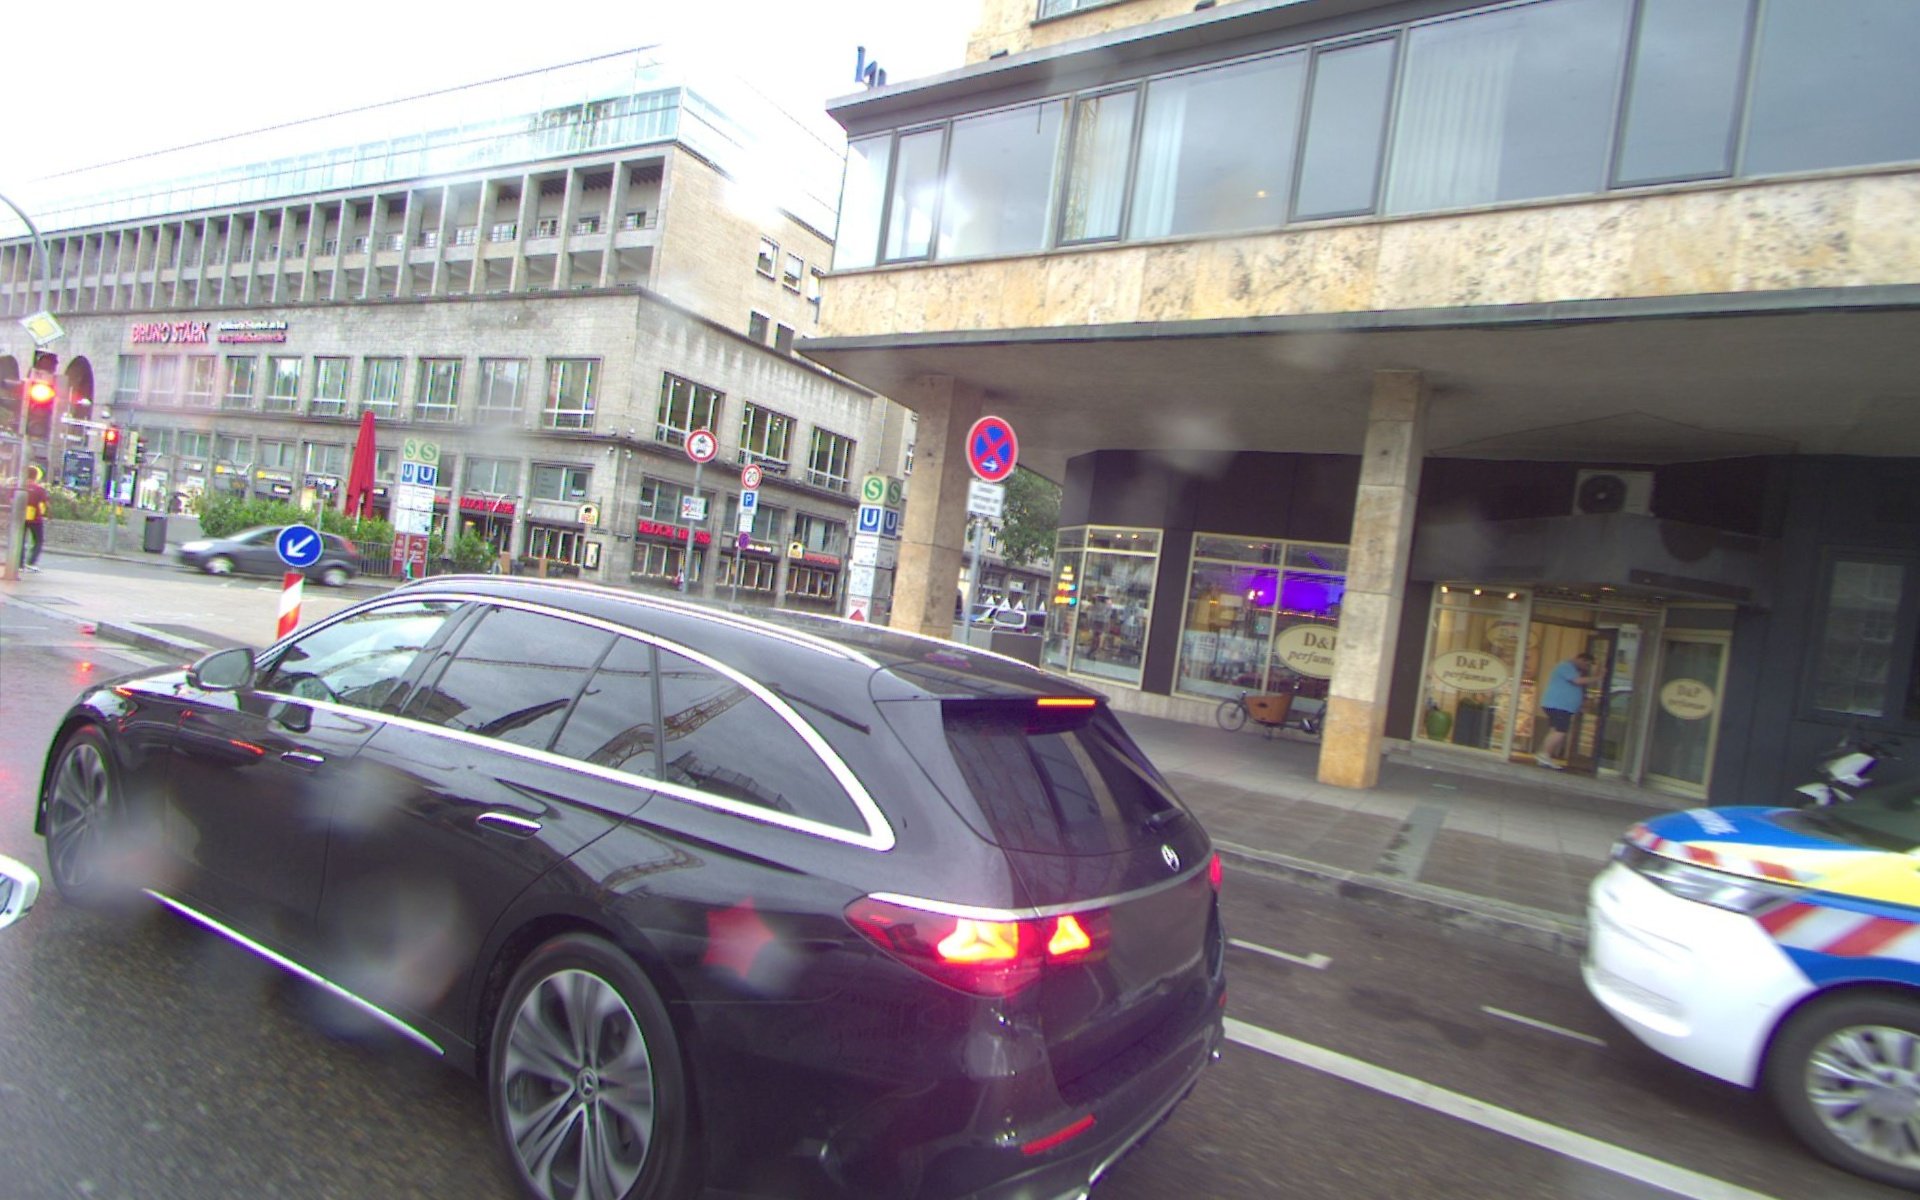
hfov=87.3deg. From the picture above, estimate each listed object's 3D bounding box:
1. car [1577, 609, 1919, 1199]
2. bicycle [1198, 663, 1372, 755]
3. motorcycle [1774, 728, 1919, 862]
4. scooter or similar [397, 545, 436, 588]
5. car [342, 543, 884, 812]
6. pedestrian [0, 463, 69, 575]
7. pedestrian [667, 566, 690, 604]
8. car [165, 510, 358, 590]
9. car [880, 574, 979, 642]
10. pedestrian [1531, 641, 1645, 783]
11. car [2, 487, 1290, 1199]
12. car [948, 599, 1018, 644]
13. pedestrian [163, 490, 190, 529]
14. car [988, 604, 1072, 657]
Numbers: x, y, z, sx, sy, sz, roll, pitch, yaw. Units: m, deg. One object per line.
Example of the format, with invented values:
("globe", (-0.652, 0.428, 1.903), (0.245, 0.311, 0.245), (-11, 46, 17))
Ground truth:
("car", (5.131, 1.332, 3.519), (4.853, 1.942, 1.878), (7, -2, 31))
("bicycle", (5.090, 1.697, 15.866), (2.431, 1.058, 0.657), (7, -1, 32))
("motorcycle", (10.312, 2.186, 10.999), (2.074, 1.232, 0.567), (6, -1, 40))
("scooter or similar", (-17.173, -1.061, 31.793), (1.000, 1.203, 0.291), (7, -1, 13))
("car", (-3.082, 0.546, 8.671), (4.451, 1.503, 1.878), (7, -2, 31))
("pedestrian", (-15.848, -1.358, 17.149), (0.561, 1.772, 0.678), (8, -1, -15))
("pedestrian", (-12.120, -0.645, 43.268), (0.748, 1.530, 0.714), (8, -1, -16))
("car", (-17.894, -1.264, 25.885), (1.826, 1.414, 3.652), (6, -2, 41))
("car", (-1.486, 0.506, 52.243), (1.966, 2.793, 6.184), (7, -2, 29))
("pedestrian", (8.893, 1.566, 14.255), (1.119, 1.811, 0.798), (7, -1, 39))
("car", (-1.407, 0.607, 3.664), (4.551, 1.519, 1.797), (7, -2, 31))
("car", (1.389, 1.277, 58.590), (1.966, 2.065, 4.557), (7, -2, 29))
("pedestrian", (-43.332, -4.997, 55.629), (0.811, 2.037, 0.764), (7, -1, 32))
("car", (3.361, 1.473, 47.250), (1.966, 1.995, 4.638), (8, -1, 29))
